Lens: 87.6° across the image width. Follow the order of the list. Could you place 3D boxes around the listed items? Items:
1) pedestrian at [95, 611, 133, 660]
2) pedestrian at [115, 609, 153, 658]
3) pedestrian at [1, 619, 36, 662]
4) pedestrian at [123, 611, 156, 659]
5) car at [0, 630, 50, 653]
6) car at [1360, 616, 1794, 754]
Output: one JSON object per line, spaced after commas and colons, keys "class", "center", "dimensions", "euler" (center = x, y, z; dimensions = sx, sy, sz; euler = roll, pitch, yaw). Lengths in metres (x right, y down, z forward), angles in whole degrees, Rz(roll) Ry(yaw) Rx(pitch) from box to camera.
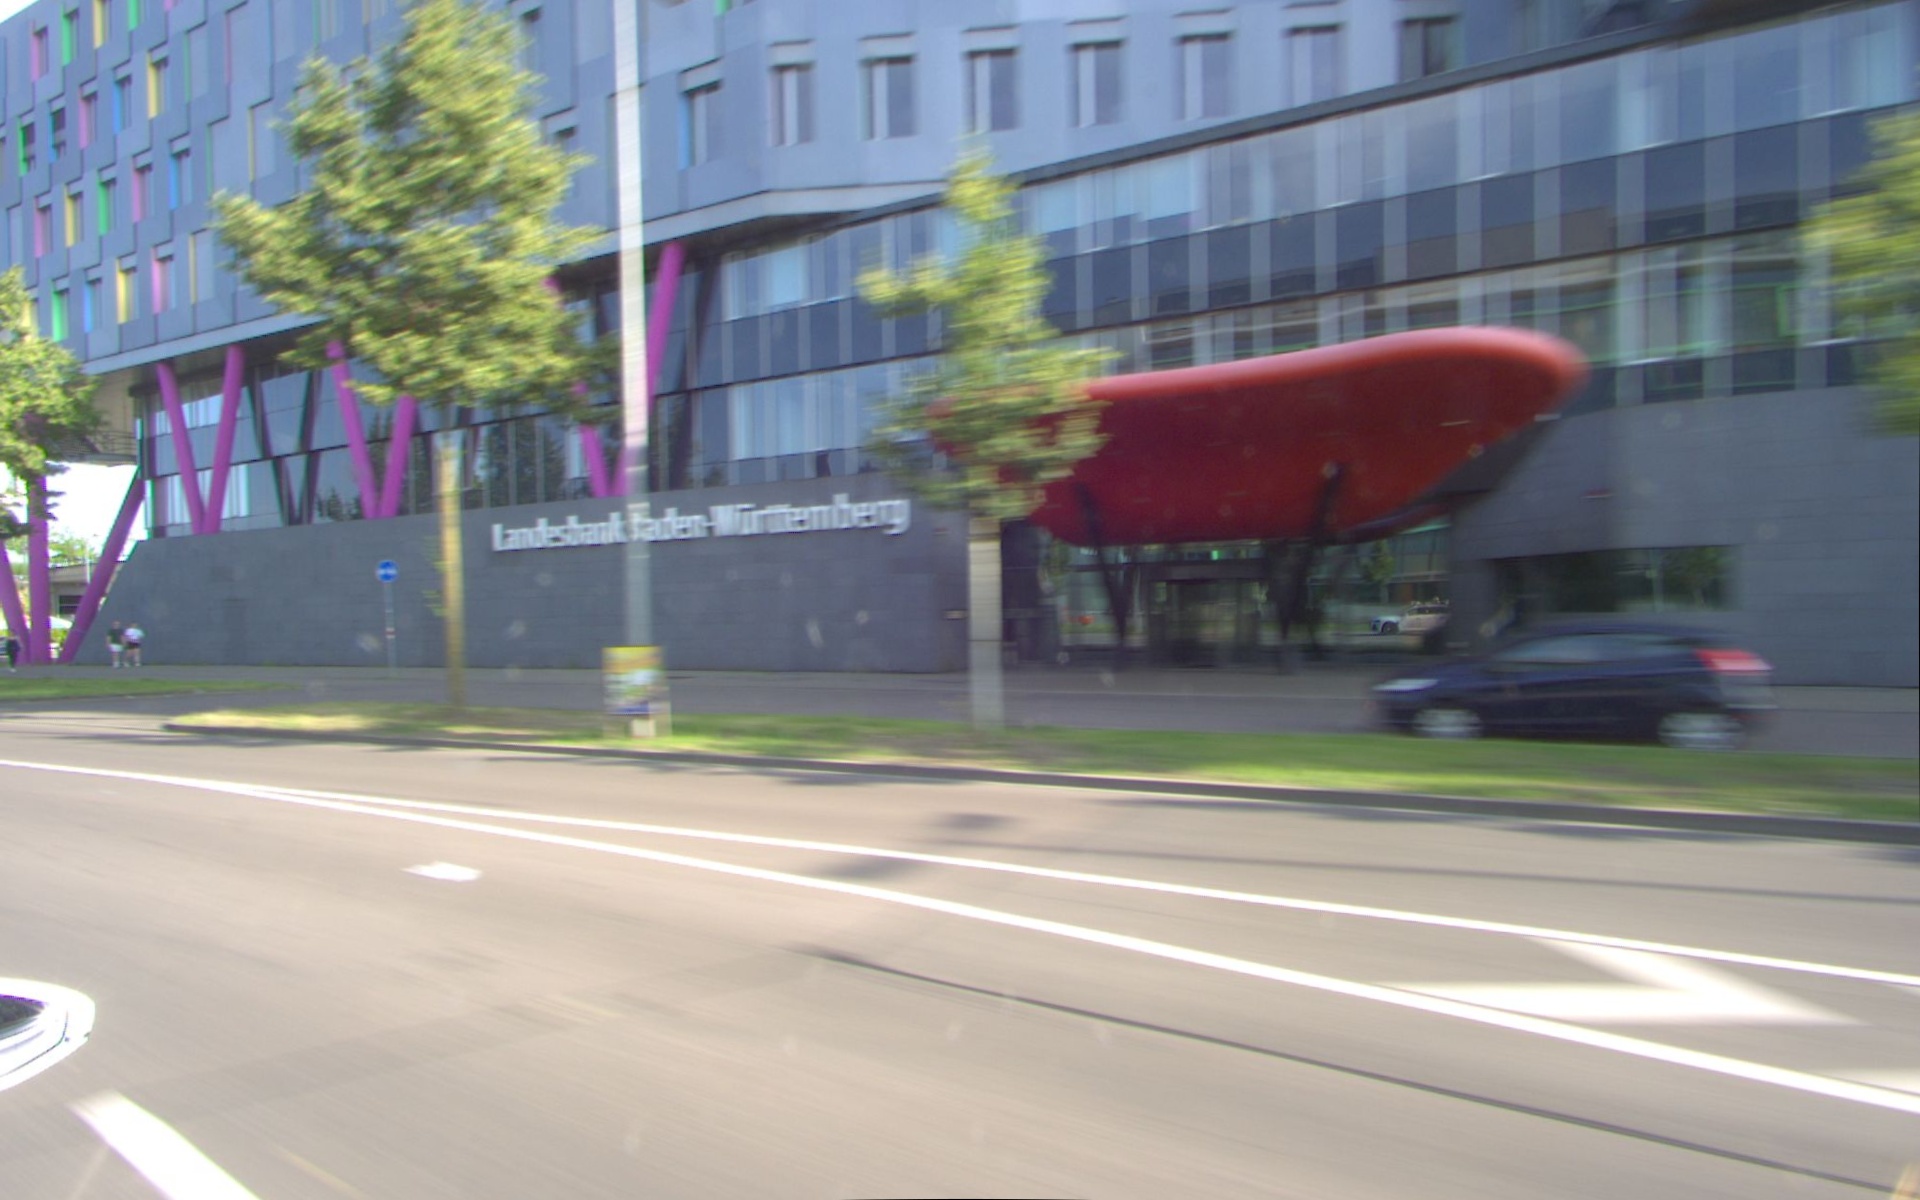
{"class": "pedestrian", "center": [-32.172, 1.355, 38.097], "dimensions": [0.830, 1.818, 0.753], "euler": [-1, 2, 25]}
{"class": "pedestrian", "center": [-31.943, 1.299, 38.721], "dimensions": [0.839, 1.850, 0.767], "euler": [-1, 2, 25]}
{"class": "pedestrian", "center": [-36.608, 1.569, 38.939], "dimensions": [0.725, 1.661, 0.693], "euler": [-1, 2, 25]}
{"class": "pedestrian", "center": [-31.873, 1.353, 38.888], "dimensions": [0.774, 1.818, 0.656], "euler": [-1, 2, 25]}
{"class": "car", "center": [-63.833, 2.782, 66.848], "dimensions": [1.829, 1.443, 4.183], "euler": [-1, 0, 25]}
{"class": "car", "center": [7.024, 0.899, 11.912], "dimensions": [4.130, 1.408, 1.692], "euler": [0, 0, 25]}
